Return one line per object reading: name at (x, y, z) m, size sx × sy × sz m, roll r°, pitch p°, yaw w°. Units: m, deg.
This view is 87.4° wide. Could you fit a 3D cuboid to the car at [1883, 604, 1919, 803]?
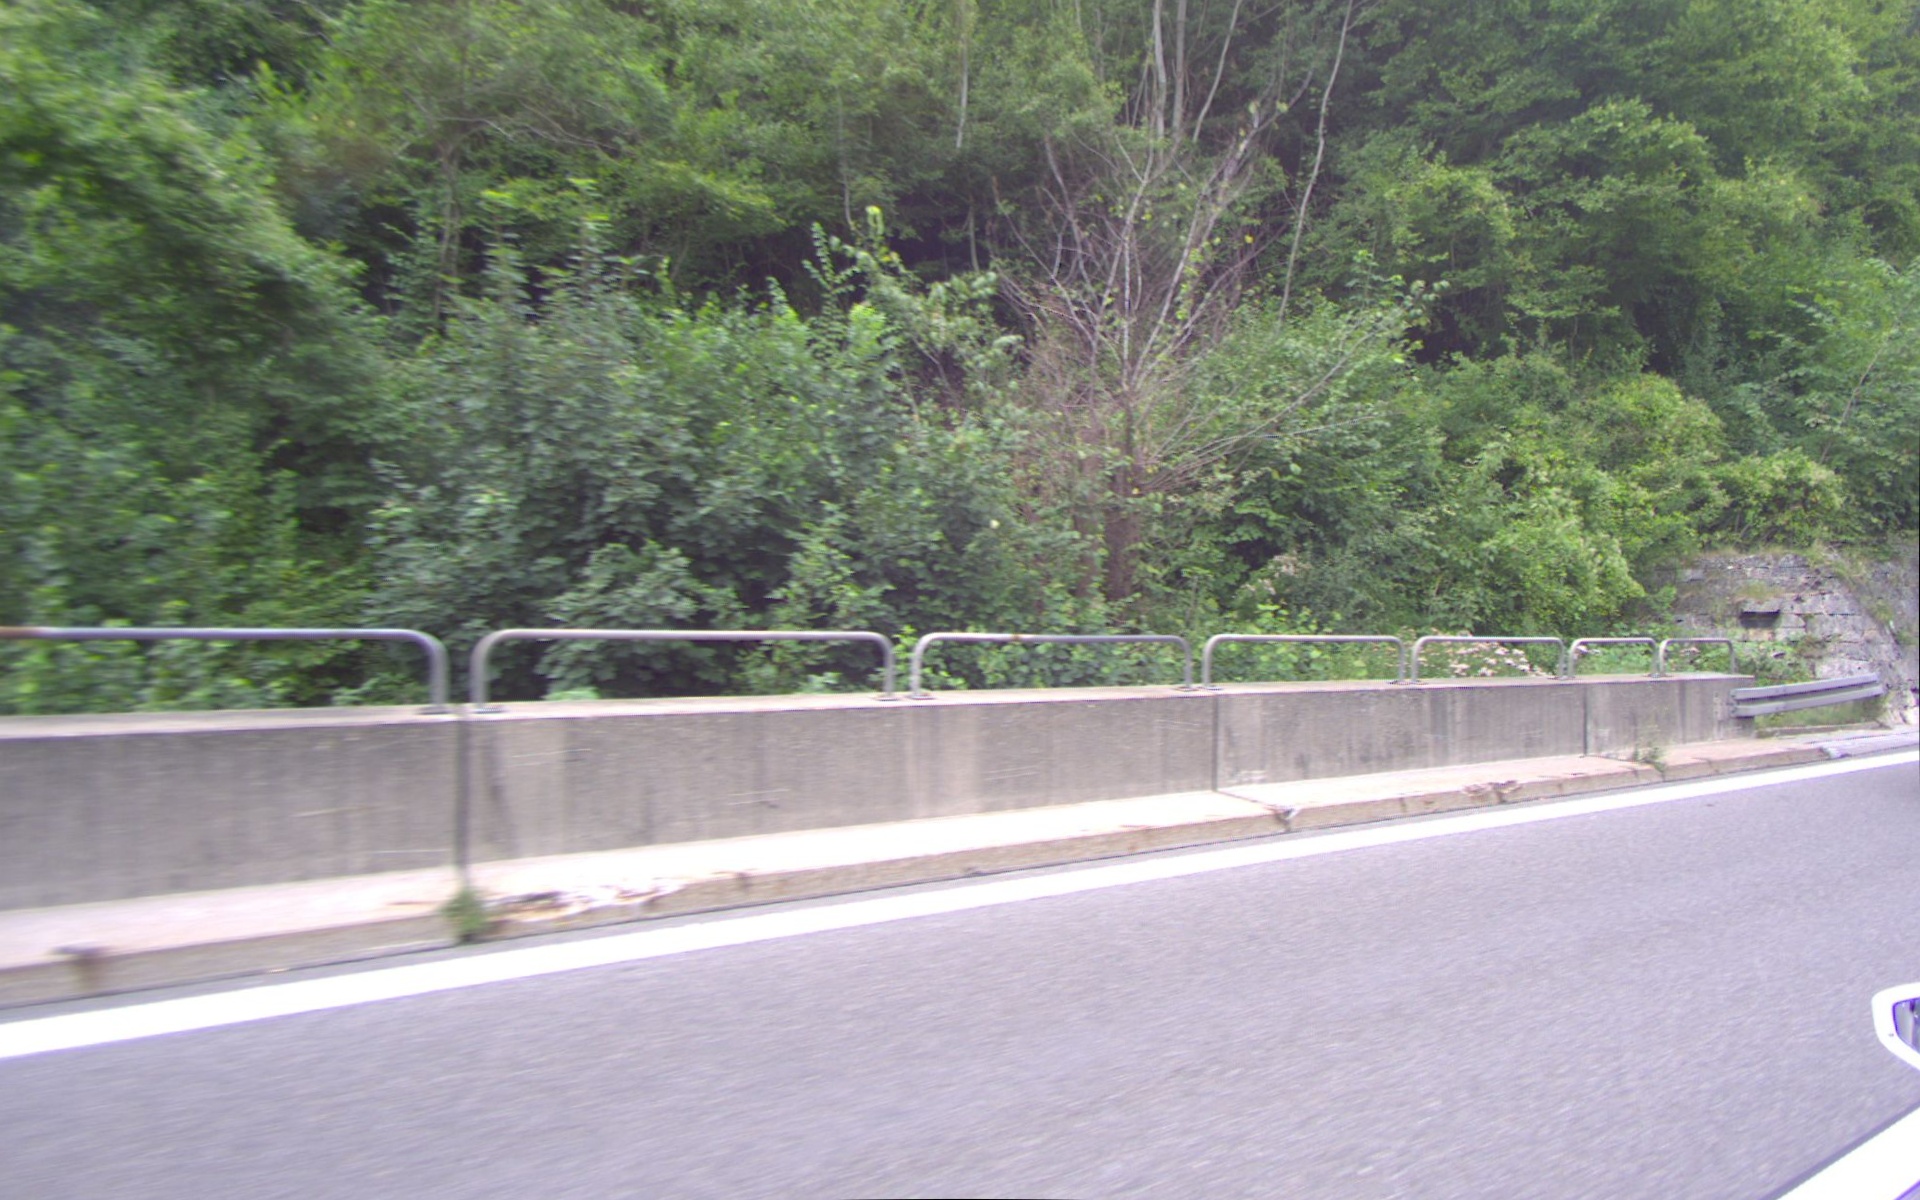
car at (10.505, 0.894, 8.950) m, size 4.949 × 1.653 × 1.984 m, roll 1°, pitch -2°, yaw -30°
